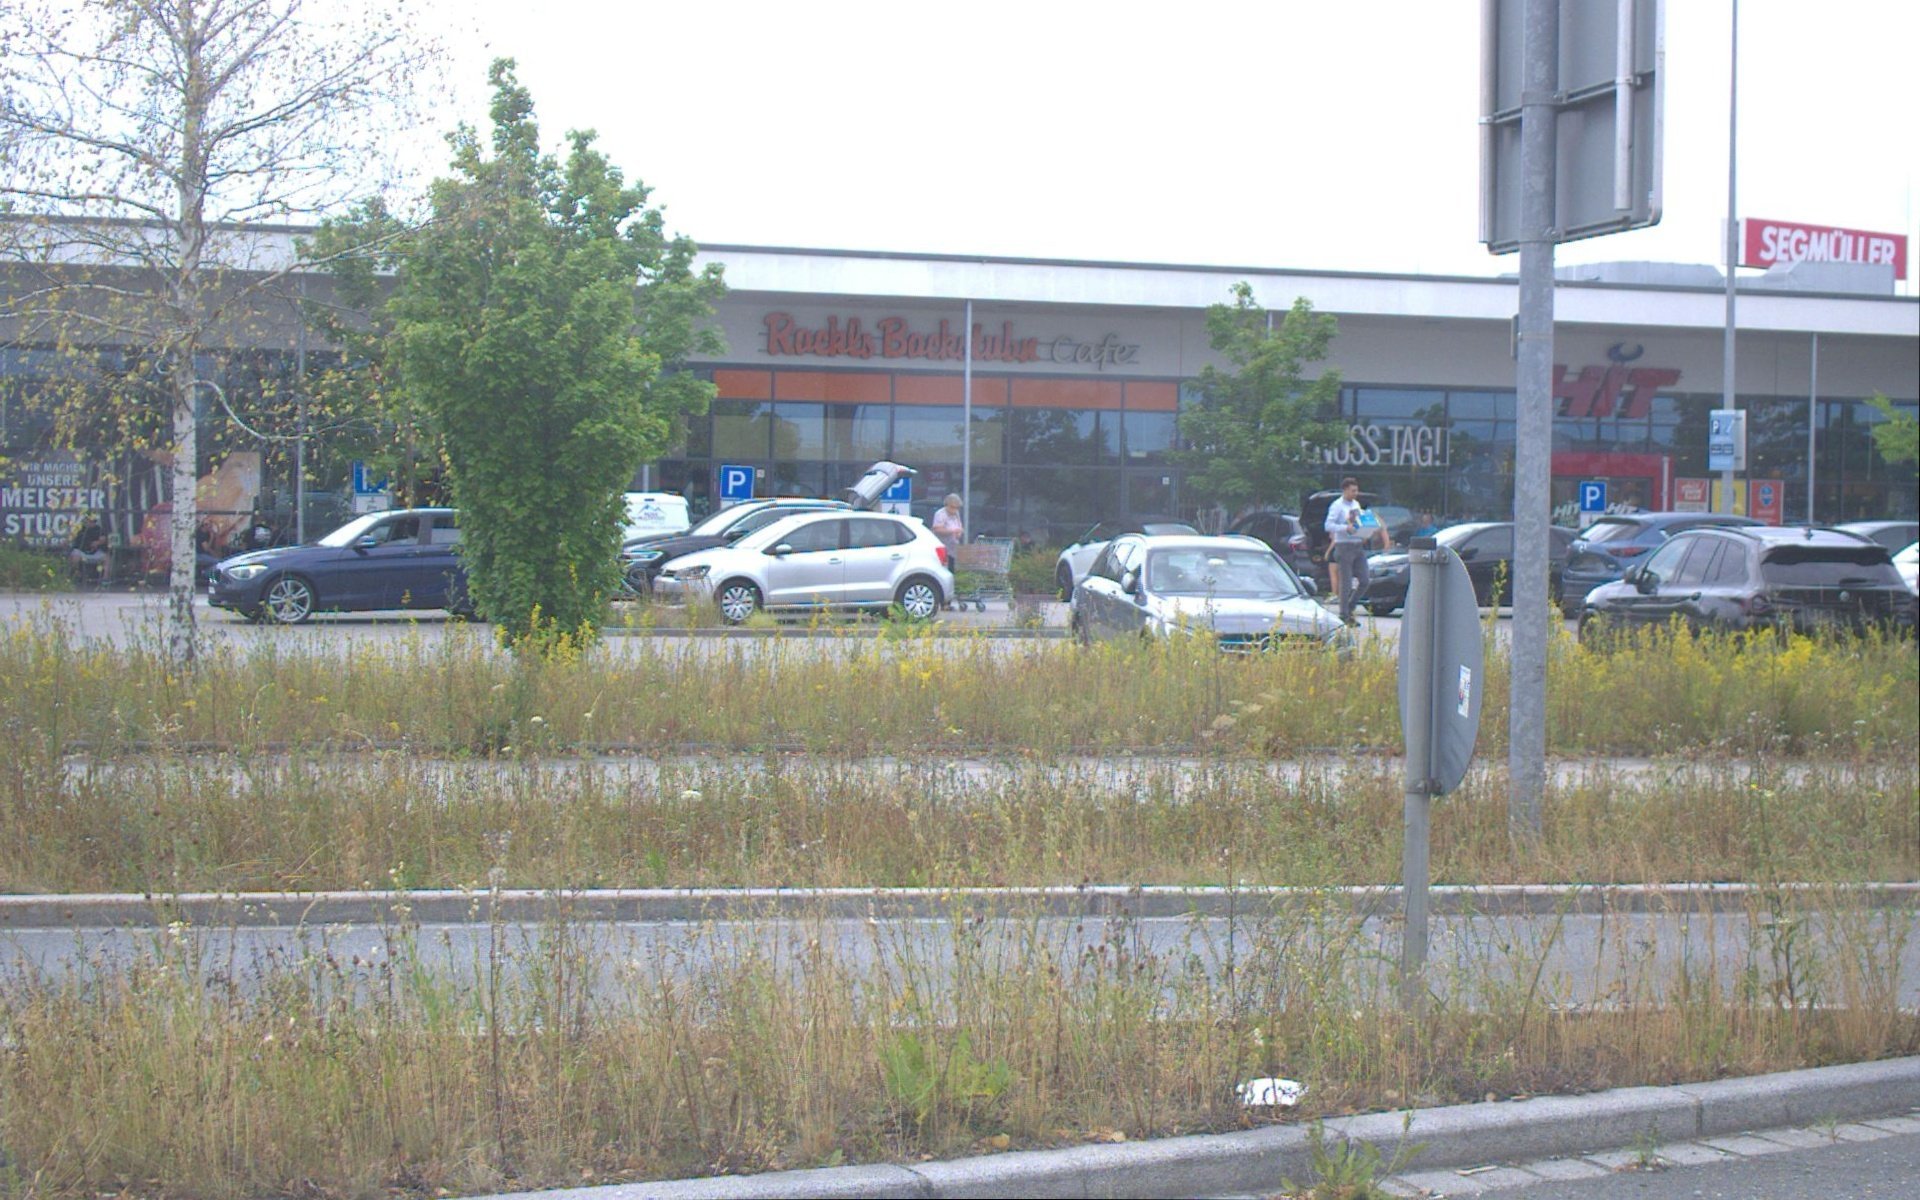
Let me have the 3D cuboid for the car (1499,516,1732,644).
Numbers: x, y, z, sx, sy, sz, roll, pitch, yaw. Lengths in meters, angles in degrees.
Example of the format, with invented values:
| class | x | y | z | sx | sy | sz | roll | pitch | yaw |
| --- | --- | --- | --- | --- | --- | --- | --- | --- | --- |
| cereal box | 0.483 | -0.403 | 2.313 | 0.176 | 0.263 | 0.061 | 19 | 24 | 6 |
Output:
| class | x | y | z | sx | sy | sz | roll | pitch | yaw |
| --- | --- | --- | --- | --- | --- | --- | --- | --- | --- |
| car | 8.975 | -0.313 | 47.370 | 1.814 | 1.647 | 4.001 | 0 | 2 | -10 |

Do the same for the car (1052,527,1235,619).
| class | x | y | z | sx | sy | sz | roll | pitch | yaw |
| --- | --- | --- | --- | --- | --- | --- | --- | --- | --- |
| car | 3.218 | -0.498 | 61.034 | 1.993 | 1.503 | 4.002 | 1 | 2 | -17 |

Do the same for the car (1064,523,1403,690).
| class | x | y | z | sx | sy | sz | roll | pitch | yaw |
| --- | --- | --- | --- | --- | --- | --- | --- | --- | --- |
| car | 2.378 | 0.018 | 31.050 | 1.988 | 1.379 | 4.151 | 1 | 1 | -11 |

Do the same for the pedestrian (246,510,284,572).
| class | x | y | z | sx | sy | sz | roll | pitch | yaw |
| --- | --- | --- | --- | --- | --- | --- | --- | --- | --- |
| pedestrian | -12.862 | -1.093 | 63.619 | 0.576 | 1.120 | 0.562 | 0 | 2 | -22 |

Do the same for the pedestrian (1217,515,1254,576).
| class | x | y | z | sx | sy | sz | roll | pitch | yaw |
| --- | --- | --- | --- | --- | --- | --- | --- | --- | --- |
| pedestrian | 5.525 | -1.093 | 68.978 | 0.560 | 1.197 | 0.528 | 0 | 2 | -18 |

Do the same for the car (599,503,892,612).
| class | x | y | z | sx | sy | sz | roll | pitch | yaw |
| --- | --- | --- | --- | --- | --- | --- | --- | --- | --- |
| car | -3.003 | -0.596 | 47.954 | 3.745 | 1.449 | 1.668 | 0 | 2 | -18 |

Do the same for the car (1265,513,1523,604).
| class | x | y | z | sx | sy | sz | roll | pitch | yaw |
| --- | --- | --- | --- | --- | --- | --- | --- | --- | --- |
| car | 7.591 | -0.728 | 60.211 | 3.986 | 1.503 | 2.001 | 0 | 2 | -17 |

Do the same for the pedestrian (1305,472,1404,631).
| class | x | y | z | sx | sy | sz | roll | pitch | yaw |
| --- | --- | --- | --- | --- | --- | --- | --- | --- | --- |
| pedestrian | 5.034 | -0.625 | 43.935 | 1.000 | 2.006 | 0.868 | 1 | 2 | -10 |

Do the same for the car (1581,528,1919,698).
| class | x | y | z | sx | sy | sz | roll | pitch | yaw |
| --- | --- | --- | --- | --- | --- | --- | --- | --- | --- |
| car | 7.458 | 0.076 | 31.773 | 1.988 | 1.446 | 4.151 | 1 | 1 | -11 |

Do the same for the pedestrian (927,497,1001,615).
| class | x | y | z | sx | sy | sz | roll | pitch | yaw |
| --- | --- | --- | --- | --- | --- | --- | --- | --- | --- |
| pedestrian | 0.053 | -0.622 | 48.520 | 0.821 | 1.626 | 0.899 | 1 | 1 | -13 |

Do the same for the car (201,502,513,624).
| class | x | y | z | sx | sy | sz | roll | pitch | yaw |
| --- | --- | --- | --- | --- | --- | --- | --- | --- | --- |
| car | -7.549 | -0.467 | 42.980 | 3.606 | 1.449 | 1.668 | 0 | 2 | -19 |

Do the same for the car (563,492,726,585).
| class | x | y | z | sx | sy | sz | roll | pitch | yaw |
| --- | --- | --- | --- | --- | --- | --- | --- | --- | --- |
| car | -5.368 | -1.062 | 58.081 | 1.993 | 1.503 | 4.002 | 0 | 2 | -17 |

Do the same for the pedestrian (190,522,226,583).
| class | x | y | z | sx | sy | sz | roll | pitch | yaw |
| --- | --- | --- | --- | --- | --- | --- | --- | --- | --- |
| pedestrian | -14.039 | -0.886 | 64.185 | 0.576 | 1.120 | 0.562 | 0 | 2 | -22 |

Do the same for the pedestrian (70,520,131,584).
| class | x | y | z | sx | sy | sz | roll | pitch | yaw |
| --- | --- | --- | --- | --- | --- | --- | --- | --- | --- |
| pedestrian | -16.008 | -0.898 | 63.999 | 0.970 | 1.150 | 1.133 | 0 | 2 | -20 |

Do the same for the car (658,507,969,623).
| class | x | y | z | sx | sy | sz | roll | pitch | yaw |
| --- | --- | --- | --- | --- | --- | --- | --- | --- | --- |
| car | -1.940 | -0.462 | 45.177 | 3.745 | 1.449 | 1.668 | 0 | 2 | -18 |

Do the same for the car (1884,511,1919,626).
| class | x | y | z | sx | sy | sz | roll | pitch | yaw |
| --- | --- | --- | --- | --- | --- | --- | --- | --- | --- |
| car | 15.439 | -0.423 | 48.786 | 3.986 | 1.612 | 2.001 | 0 | 2 | -10 |
